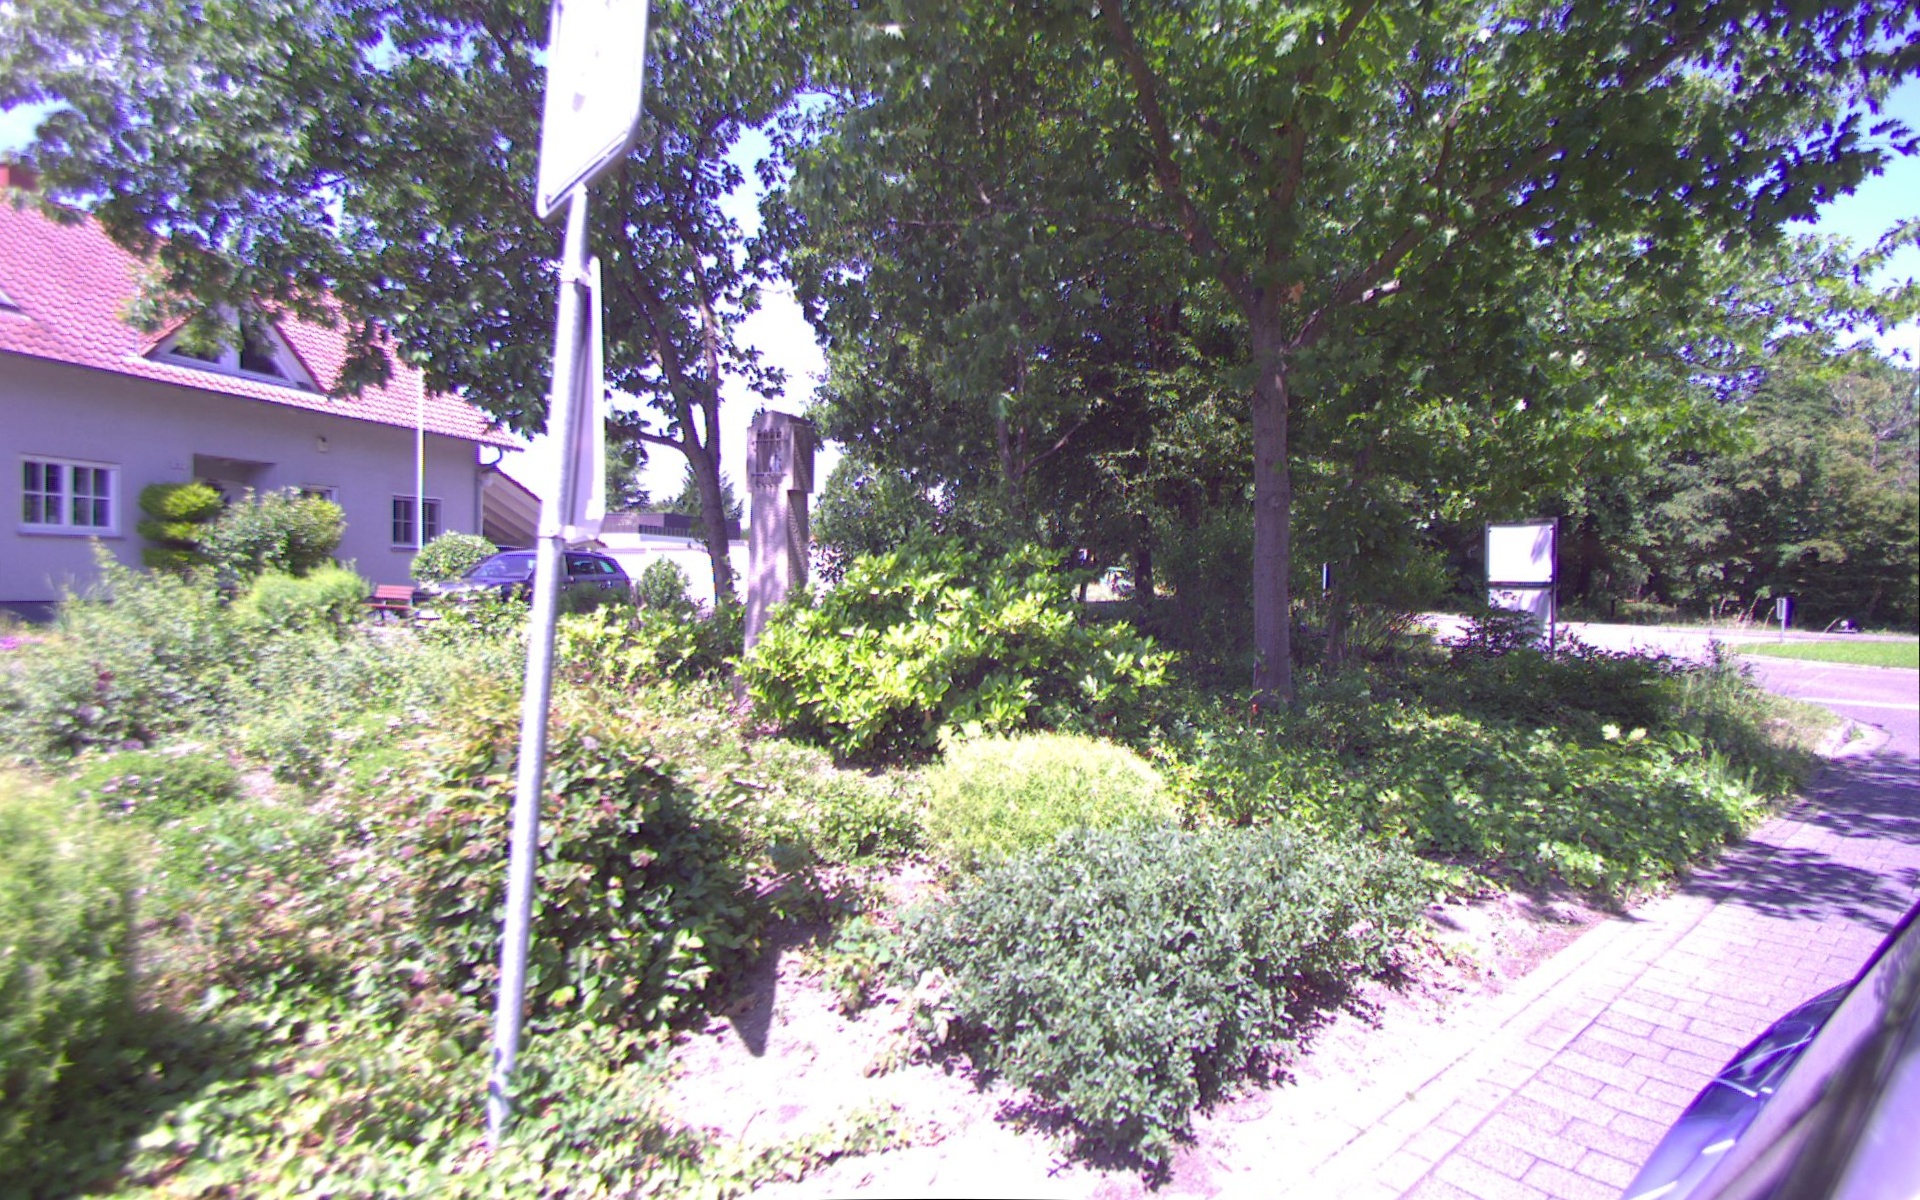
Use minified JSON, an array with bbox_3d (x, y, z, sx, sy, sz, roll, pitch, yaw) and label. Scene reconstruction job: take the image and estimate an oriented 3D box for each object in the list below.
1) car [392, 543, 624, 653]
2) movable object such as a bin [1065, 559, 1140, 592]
[{"bbox_3d":[-7.907,-0.079,18.166,1.641,1.726,4.126,1,1,14],"label":"car"},{"bbox_3d":[10.528,-1.870,75.268,2.477,2.305,5.237,1,2,-38],"label":"movable object such as a bin"}]
